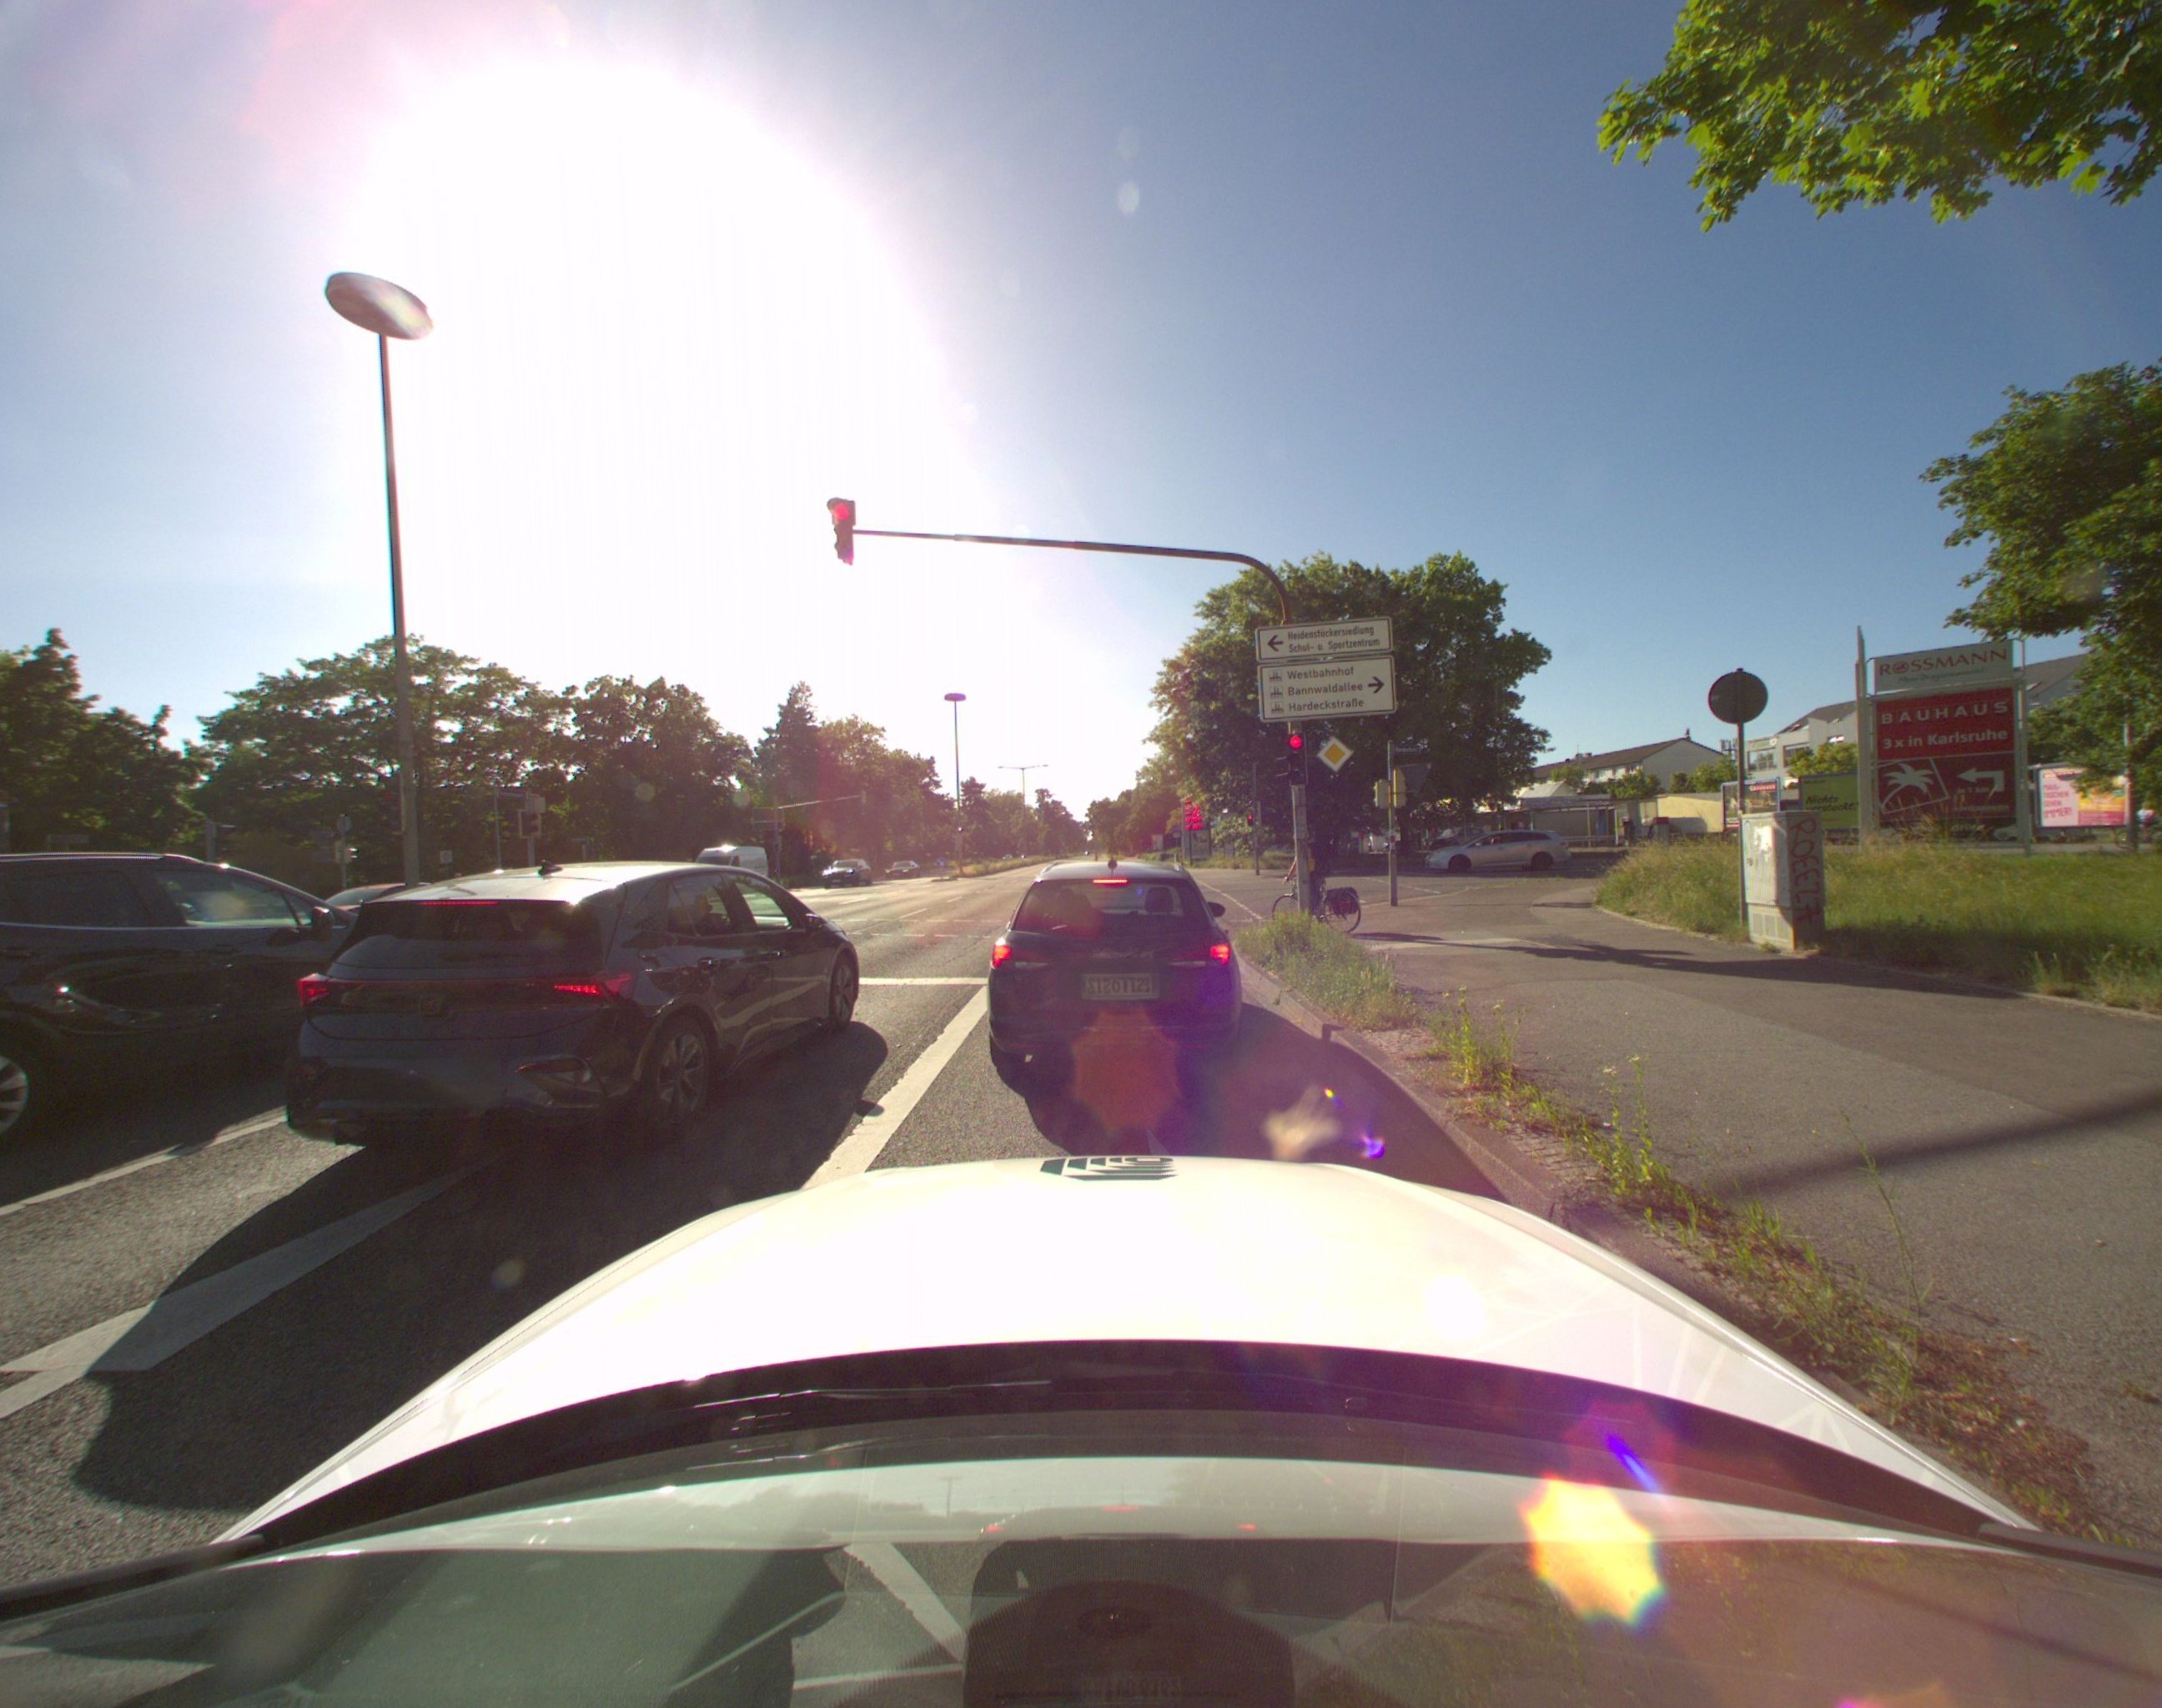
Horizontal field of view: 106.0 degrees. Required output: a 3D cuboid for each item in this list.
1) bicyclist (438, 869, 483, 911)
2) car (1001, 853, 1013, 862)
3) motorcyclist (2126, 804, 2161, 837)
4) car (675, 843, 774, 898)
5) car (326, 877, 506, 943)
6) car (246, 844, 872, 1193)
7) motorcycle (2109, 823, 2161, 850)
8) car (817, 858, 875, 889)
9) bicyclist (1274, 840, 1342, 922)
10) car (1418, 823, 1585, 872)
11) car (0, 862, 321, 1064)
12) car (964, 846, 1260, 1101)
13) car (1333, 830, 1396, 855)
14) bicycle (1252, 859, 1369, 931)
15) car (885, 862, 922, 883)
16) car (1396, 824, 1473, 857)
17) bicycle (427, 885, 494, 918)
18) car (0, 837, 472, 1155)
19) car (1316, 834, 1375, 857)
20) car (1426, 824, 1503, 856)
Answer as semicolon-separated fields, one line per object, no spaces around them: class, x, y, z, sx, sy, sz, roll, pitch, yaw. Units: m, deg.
bicyclist;-25.763;1.497;33.842;0.874;1.648;1.198;-3;0;-3
car;-15.205;0.709;167.080;1.986;1.530;4.001;-3;0;1
motorcyclist;39.117;-1.231;29.815;0.762;1.176;0.657;-3;0;12
car;-17.808;0.762;41.082;2.092;2.492;6.006;-3;0;2
car;-18.643;1.514;23.103;1.680;1.509;4.005;-3;0;2
car;-2.958;0.774;5.865;1.678;1.580;4.208;-1;0;2
motorcycle;39.105;-0.650;29.818;1.773;0.937;0.657;-3;0;12
car;-14.142;1.136;49.253;1.986;1.601;4.617;-3;0;2
bicyclist;3.721;0.451;13.384;0.541;1.277;0.819;-3;-2;-42
car;14.965;-0.213;29.301;4.969;1.486;2.007;-2;0;13
car;-10.222;0.989;7.931;1.824;1.702;3.999;-3;0;0
car;0.250;0.727;6.974;1.750;1.495;4.208;-1;0;2
car;19.667;-0.820;56.441;3.903;1.517;1.733;-3;0;-21
bicycle;3.733;0.689;13.381;0.541;1.097;1.755;-3;-2;-42
car;-13.822;1.432;63.600;1.769;1.463;4.166;-3;0;2
car;21.425;-0.833;49.391;4.003;1.749;1.985;-3;0;-22
bicycle;-25.721;1.949;33.844;0.874;1.212;2.533;-3;0;-3
car;-6.619;0.789;5.528;1.798;1.689;4.002;-3;0;2
car;19.333;-0.613;59.533;3.903;1.517;1.733;-3;0;-21
car;22.382;-0.812;47.533;4.002;1.680;1.733;-3;0;-21
